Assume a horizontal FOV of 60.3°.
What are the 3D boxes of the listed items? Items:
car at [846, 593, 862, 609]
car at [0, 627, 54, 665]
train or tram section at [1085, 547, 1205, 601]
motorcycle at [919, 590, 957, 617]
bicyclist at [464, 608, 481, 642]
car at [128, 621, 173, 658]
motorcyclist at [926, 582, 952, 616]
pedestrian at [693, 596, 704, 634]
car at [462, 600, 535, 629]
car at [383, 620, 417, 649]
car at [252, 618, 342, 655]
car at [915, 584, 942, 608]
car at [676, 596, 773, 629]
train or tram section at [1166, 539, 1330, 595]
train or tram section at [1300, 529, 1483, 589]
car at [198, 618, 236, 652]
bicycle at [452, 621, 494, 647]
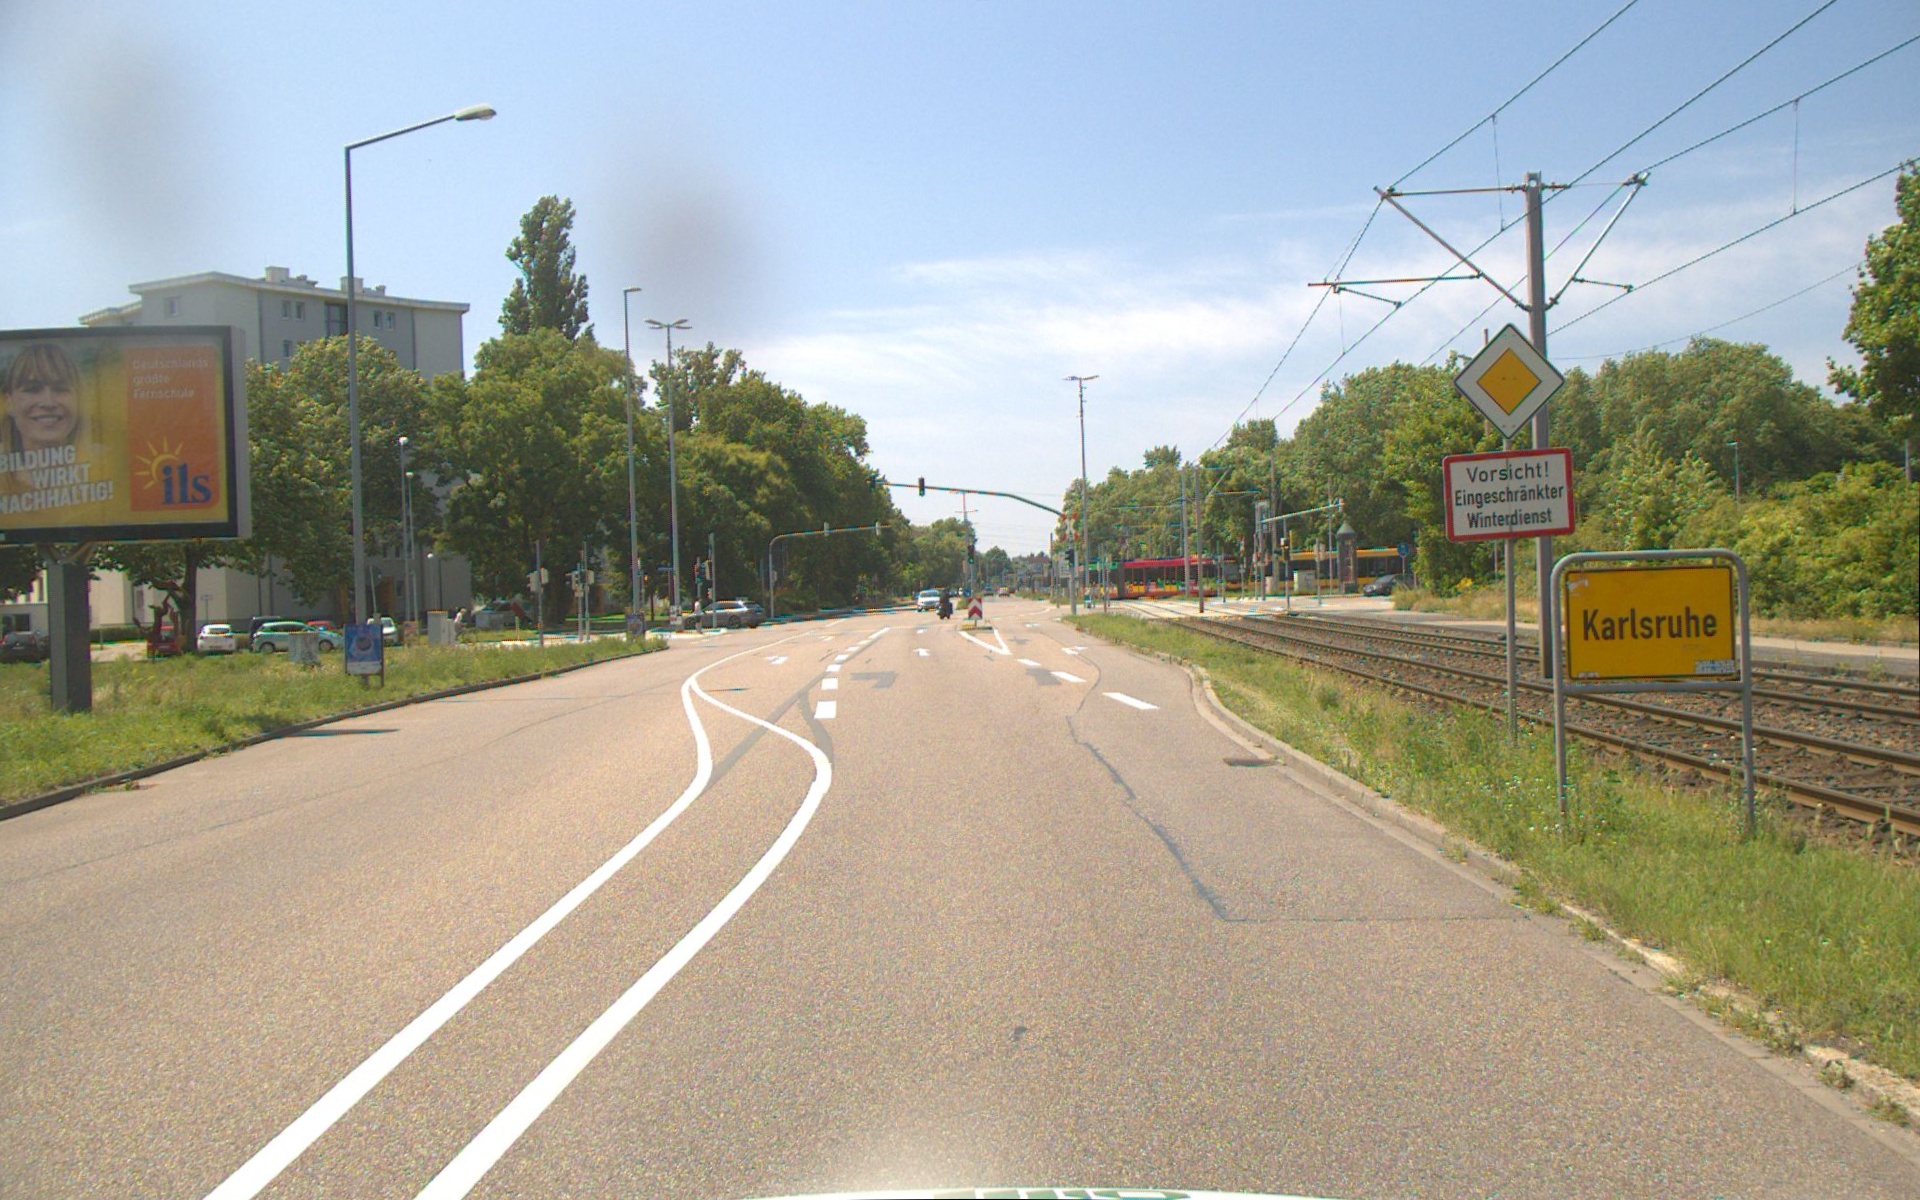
[{"bbox_3d":[-13.541,0.156,211.259,1.953,2.049,3.998,1,0,-2],"label":"car"},{"bbox_3d":[-46.295,2.245,82.065,1.820,1.741,3.974,-1,0,-21],"label":"car"},{"bbox_3d":[16.039,-2.160,144.731,2.887,3.879,12.923,0,-3,-33],"label":"train or tram section"},{"bbox_3d":[-1.096,0.178,82.996,0.831,1.277,2.445,-1,0,28],"label":"motorcycle"},{"bbox_3d":[-22.800,1.174,77.340,0.654,1.563,0.627,-2,0,-22],"label":"bicyclist"},{"bbox_3d":[-40.840,1.981,83.415,1.826,1.697,3.961,-3,0,-29],"label":"car"},{"bbox_3d":[-1.059,-0.071,83.095,0.775,1.671,1.209,-1,0,28],"label":"motorcyclist"},{"bbox_3d":[-11.975,0.687,75.686,0.374,1.716,0.485,-2,0,-3],"label":"pedestrian"},{"bbox_3d":[-31.521,0.978,113.062,1.759,1.798,4.524,-2,0,41],"label":"car"},{"bbox_3d":[-30.007,1.823,88.522,1.600,1.404,3.976,-1,0,-20],"label":"car"},{"bbox_3d":[-30.777,1.672,76.789,3.834,1.494,1.762,-2,0,-24],"label":"car"},{"bbox_3d":[-2.272,-0.292,120.516,1.748,1.657,3.866,-2,0,1],"label":"car"},{"bbox_3d":[-12.106,0.625,85.053,4.520,1.525,1.913,-2,0,22],"label":"car"},{"bbox_3d":[23.693,-2.668,136.857,13.167,3.879,2.916,-3,-3,32],"label":"train or tram section"},{"bbox_3d":[34.246,-3.173,131.580,13.711,3.988,2.923,-2,-3,22],"label":"train or tram section"},{"bbox_3d":[-38.112,1.781,84.825,1.683,1.620,3.967,-1,0,-26],"label":"car"},{"bbox_3d":[-22.763,1.575,77.332,1.838,1.112,0.642,-2,0,-22],"label":"bicycle"}]
